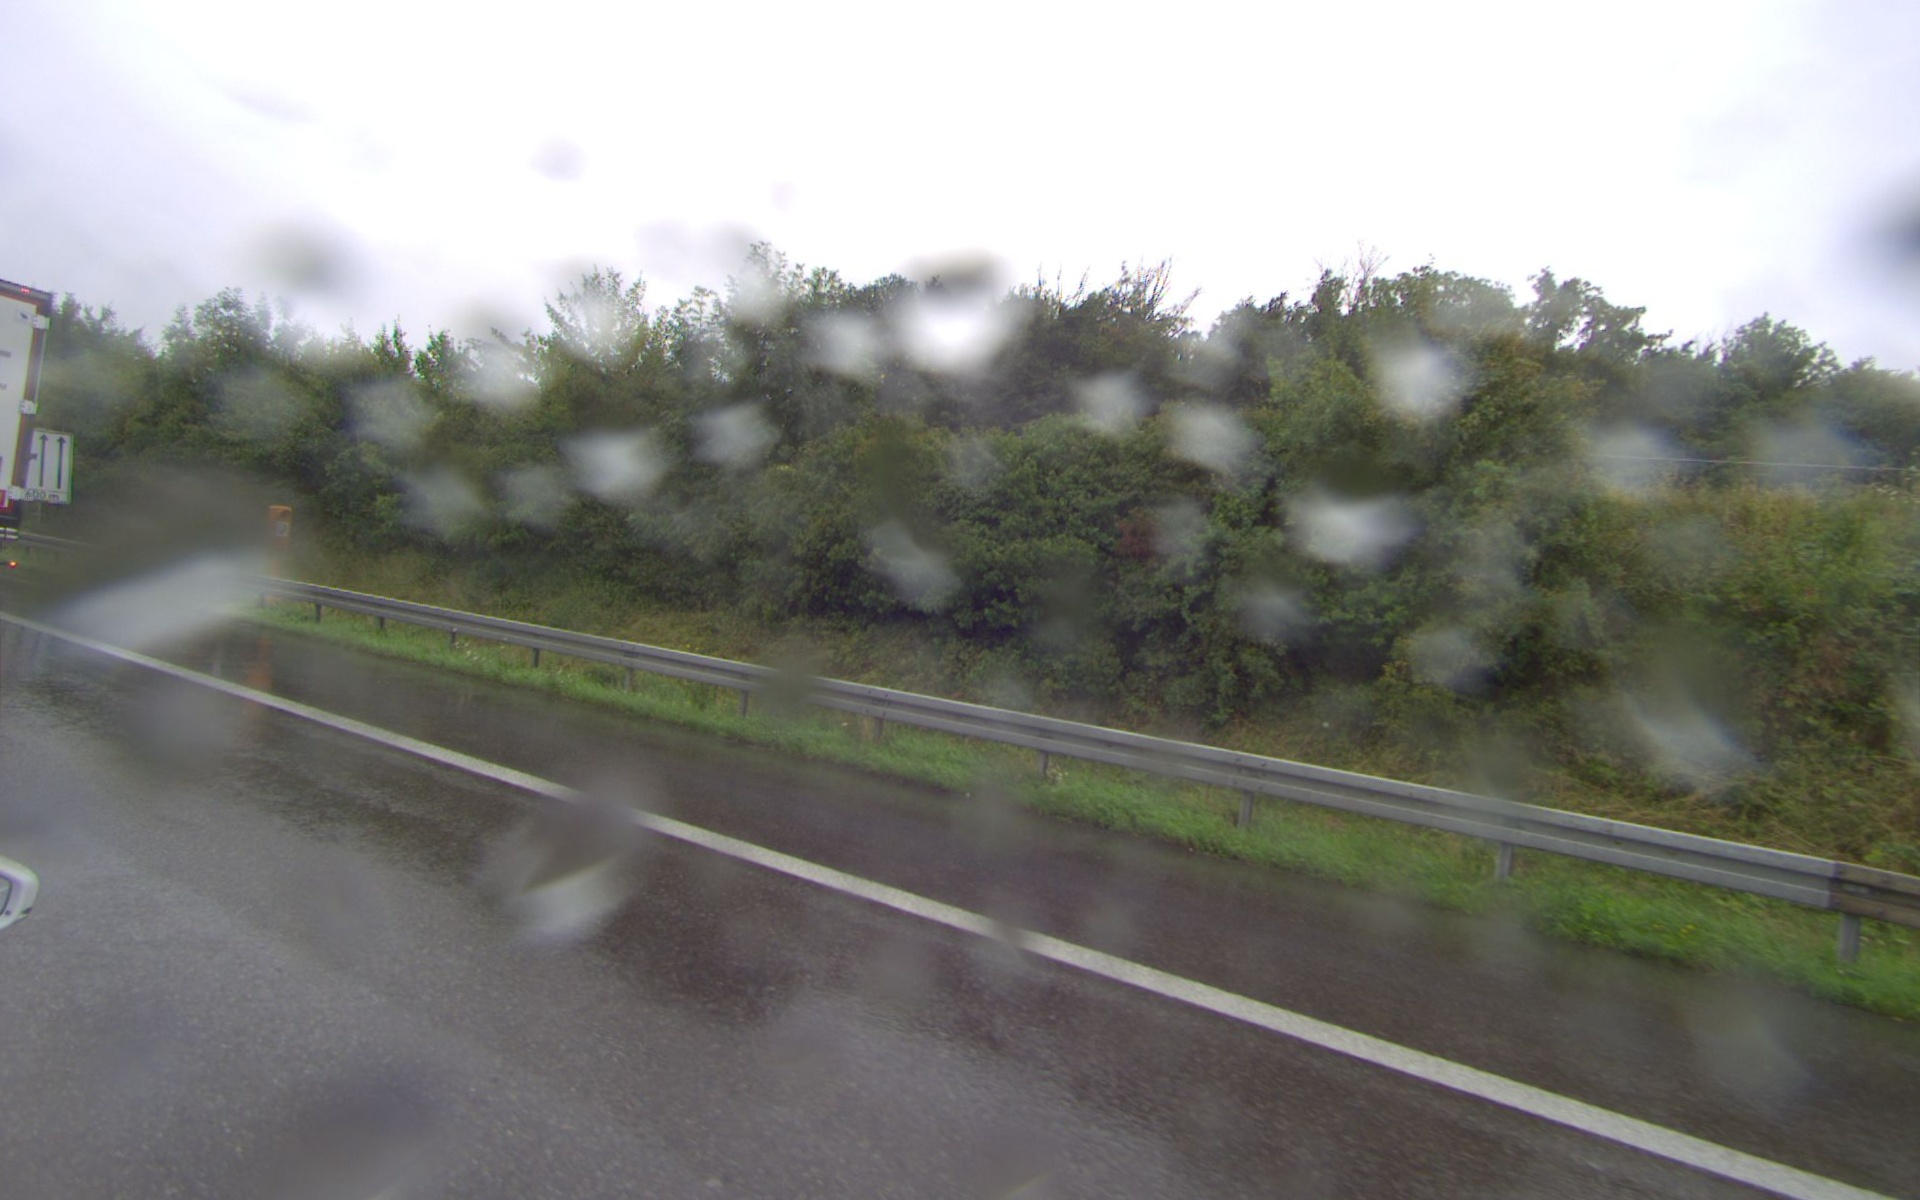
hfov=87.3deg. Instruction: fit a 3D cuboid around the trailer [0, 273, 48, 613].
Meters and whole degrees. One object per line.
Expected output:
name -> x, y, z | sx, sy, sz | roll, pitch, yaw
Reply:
trailer -> -18.247, -2.709, 15.070 | 14.386, 4.061, 2.634 | 7, 0, 32
